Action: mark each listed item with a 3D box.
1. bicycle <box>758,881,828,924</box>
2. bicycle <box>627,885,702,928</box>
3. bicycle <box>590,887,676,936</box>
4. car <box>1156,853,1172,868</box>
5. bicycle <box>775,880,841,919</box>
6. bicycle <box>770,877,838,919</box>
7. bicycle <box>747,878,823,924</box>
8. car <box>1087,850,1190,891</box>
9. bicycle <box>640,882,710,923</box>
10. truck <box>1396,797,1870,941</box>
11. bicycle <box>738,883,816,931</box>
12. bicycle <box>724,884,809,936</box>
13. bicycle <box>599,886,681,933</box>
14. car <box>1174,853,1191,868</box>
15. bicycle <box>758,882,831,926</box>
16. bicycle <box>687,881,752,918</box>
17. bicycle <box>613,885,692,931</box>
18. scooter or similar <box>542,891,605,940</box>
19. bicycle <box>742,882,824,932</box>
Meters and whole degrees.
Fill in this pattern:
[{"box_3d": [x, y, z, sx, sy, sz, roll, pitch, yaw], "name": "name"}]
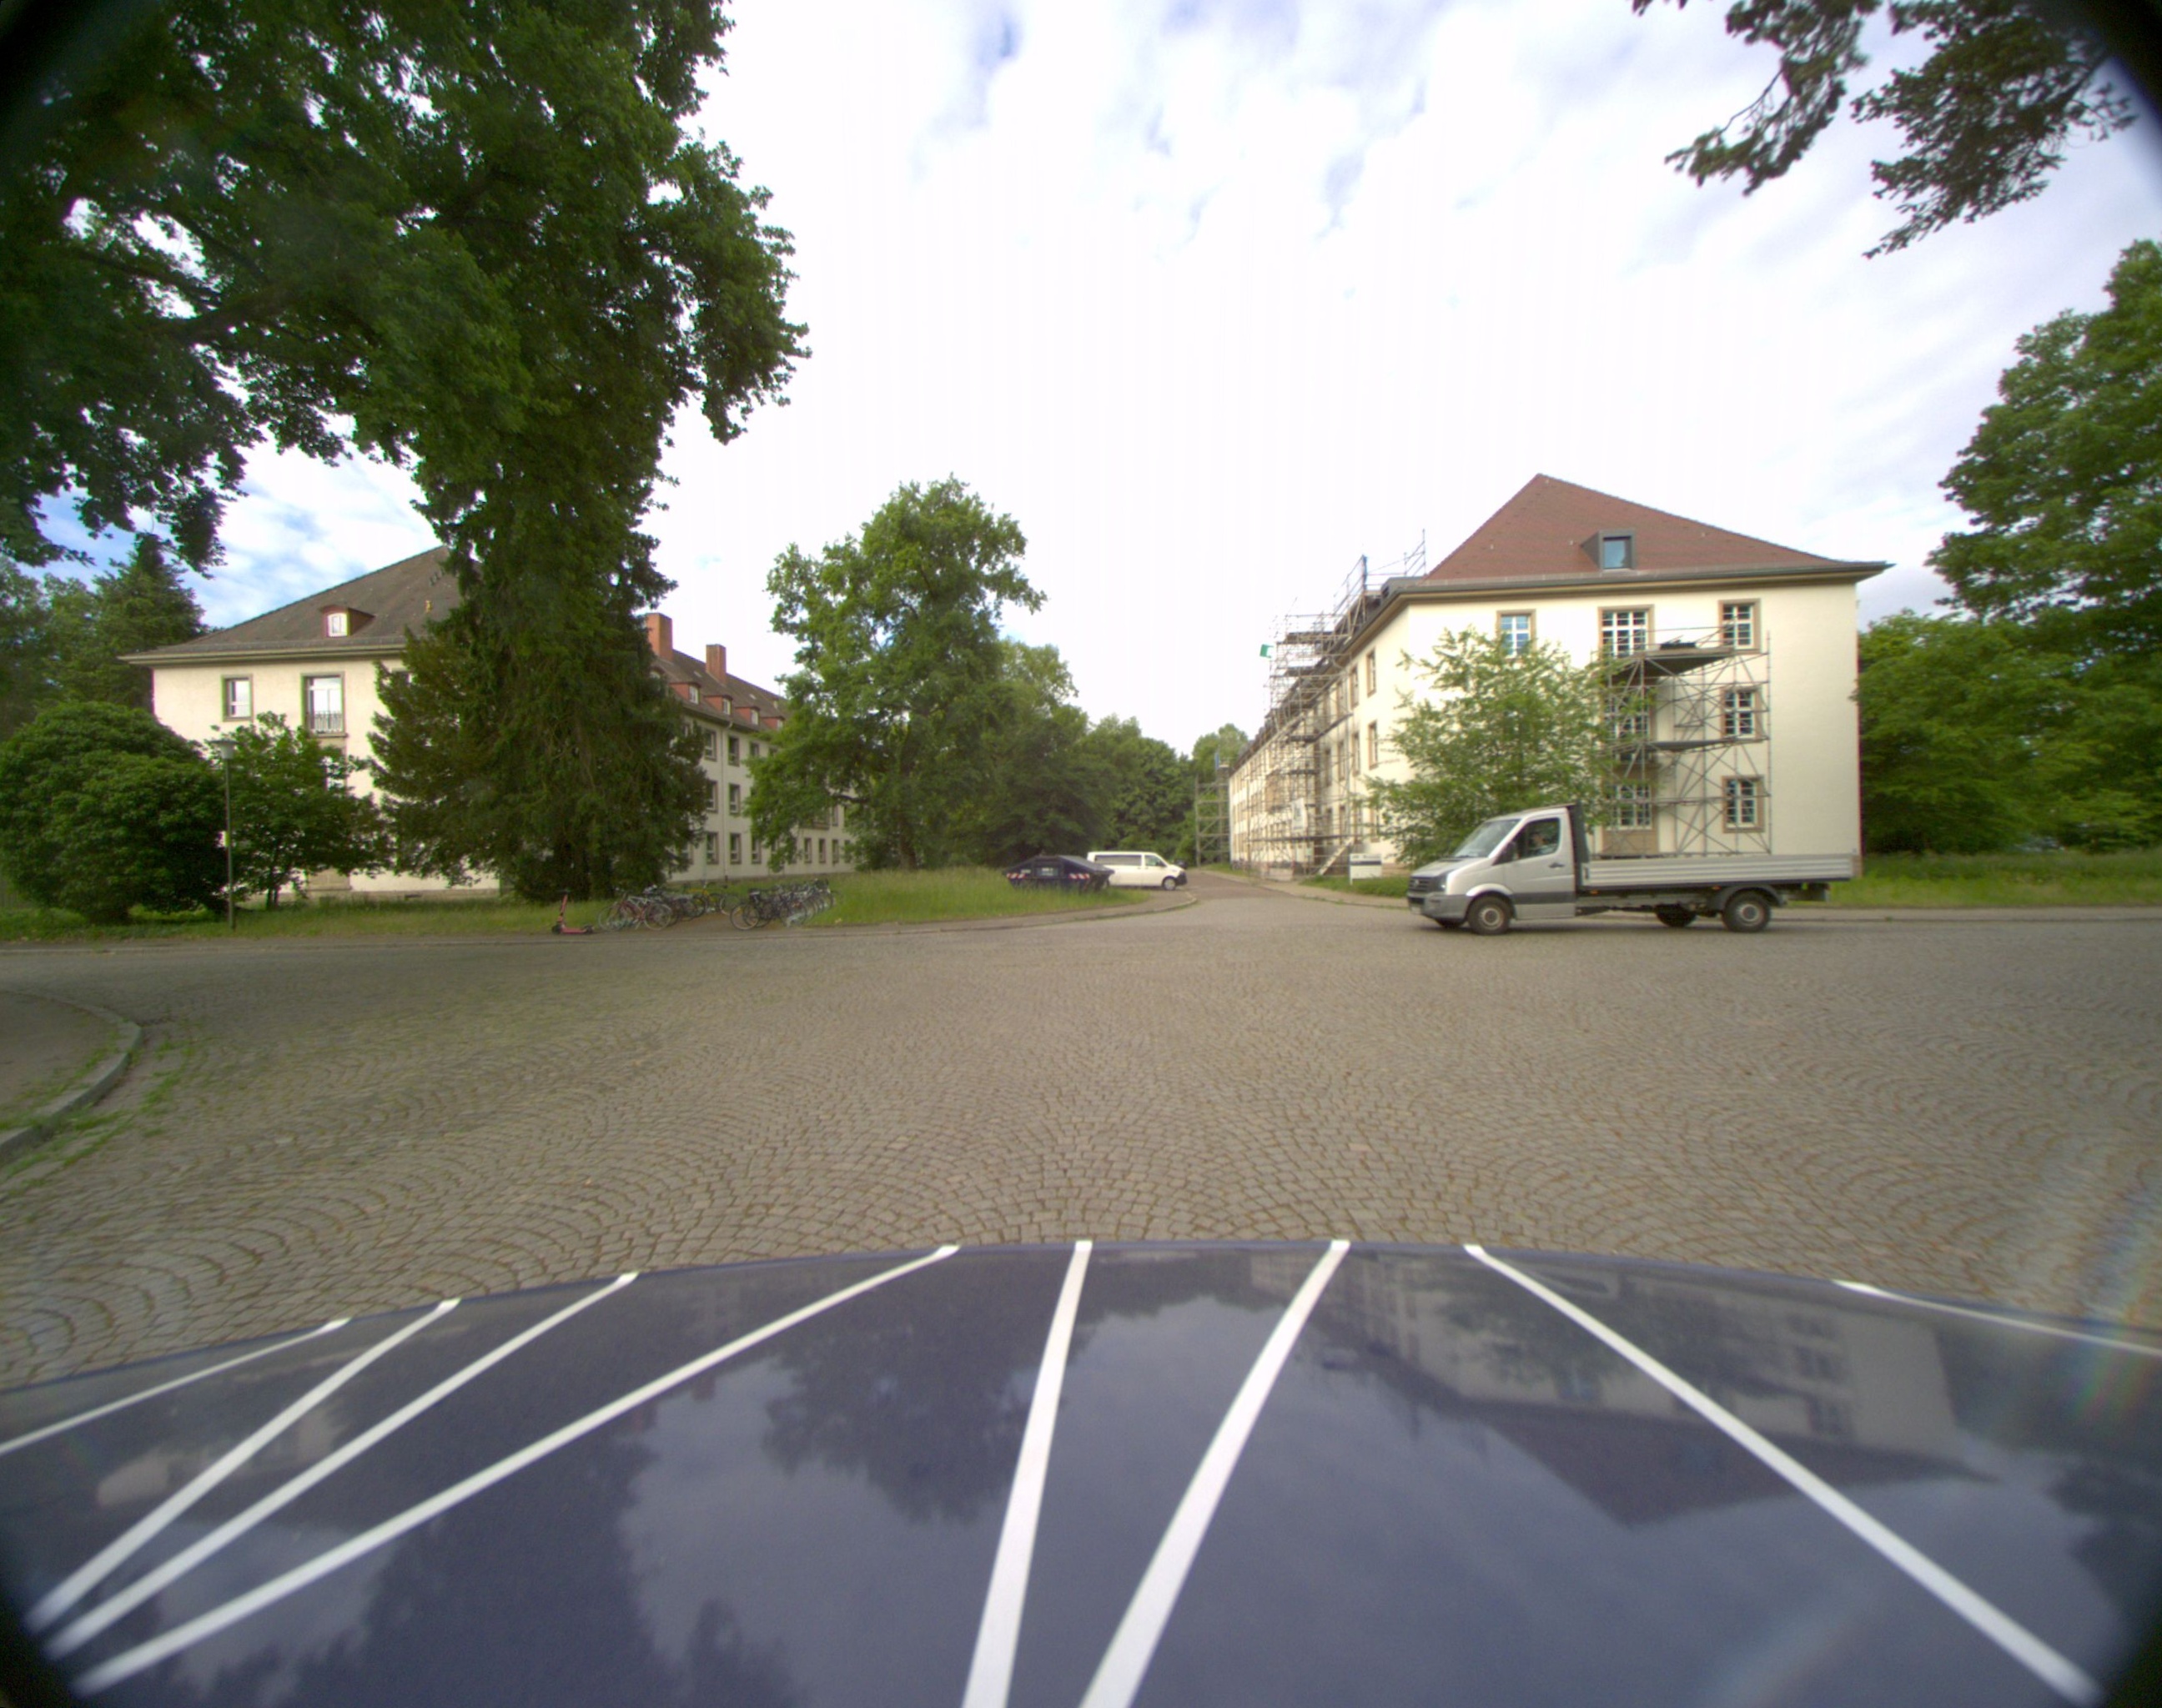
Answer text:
[{"box_3d": [-8.872, 1.487, 23.483, 1.941, 1.163, 0.487, -3, 1, -17], "name": "bicycle"}, {"box_3d": [-12.195, 1.524, 22.314, 1.862, 1.163, 0.487, -2, 0, -24], "name": "bicycle"}, {"box_3d": [-11.899, 1.511, 20.235, 1.861, 1.163, 0.487, -2, 0, -21], "name": "bicycle"}, {"box_3d": [11.432, 0.924, 104.857, 1.962, 2.002, 4.262, -1, 0, 4], "name": "car"}, {"box_3d": [-9.083, 1.500, 25.360, 1.940, 1.163, 0.537, -3, 1, -11], "name": "bicycle"}, {"box_3d": [-8.756, 1.377, 24.088, 1.941, 1.163, 0.487, -3, 1, -17], "name": "bicycle"}, {"box_3d": [-8.475, 1.345, 21.807, 1.941, 1.163, 0.487, -3, 1, -20], "name": "bicycle"}, {"box_3d": [2.955, 0.828, 39.133, 5.147, 2.002, 2.001, -1, 0, 5], "name": "car"}, {"box_3d": [-12.663, 1.510, 23.751, 1.862, 1.163, 0.487, -2, 0, -24], "name": "bicycle"}, {"box_3d": [9.843, 0.304, 14.107, 7.080, 2.352, 1.994, -1, -1, 5], "name": "truck"}, {"box_3d": [-8.460, 1.464, 21.192, 1.941, 1.163, 0.487, -3, 1, -20], "name": "bicycle"}, {"box_3d": [-8.083, 1.418, 19.557, 1.941, 1.163, 0.487, -3, 1, -23], "name": "bicycle"}, {"box_3d": [-12.051, 1.515, 20.817, 1.861, 1.163, 0.487, -2, 0, -21], "name": "bicycle"}, {"box_3d": [13.979, 0.862, 104.886, 1.962, 2.002, 4.262, -1, 0, 4], "name": "car"}, {"box_3d": [-8.499, 1.468, 22.594, 1.941, 1.163, 0.487, -3, 1, -17], "name": "bicycle"}, {"box_3d": [-11.790, 1.470, 24.811, 1.859, 1.163, 0.488, 0, 0, -5], "name": "bicycle"}, {"box_3d": [-12.117, 1.519, 21.537, 1.861, 1.163, 0.487, -2, 0, -16], "name": "bicycle"}, {"box_3d": [-13.052, 1.579, 19.548, 1.307, 1.163, 0.413, -3, 0, 4], "name": "scooter or similar"}, {"box_3d": [-7.914, 1.393, 20.223, 1.941, 1.163, 0.487, -3, 1, -23], "name": "bicycle"}]
